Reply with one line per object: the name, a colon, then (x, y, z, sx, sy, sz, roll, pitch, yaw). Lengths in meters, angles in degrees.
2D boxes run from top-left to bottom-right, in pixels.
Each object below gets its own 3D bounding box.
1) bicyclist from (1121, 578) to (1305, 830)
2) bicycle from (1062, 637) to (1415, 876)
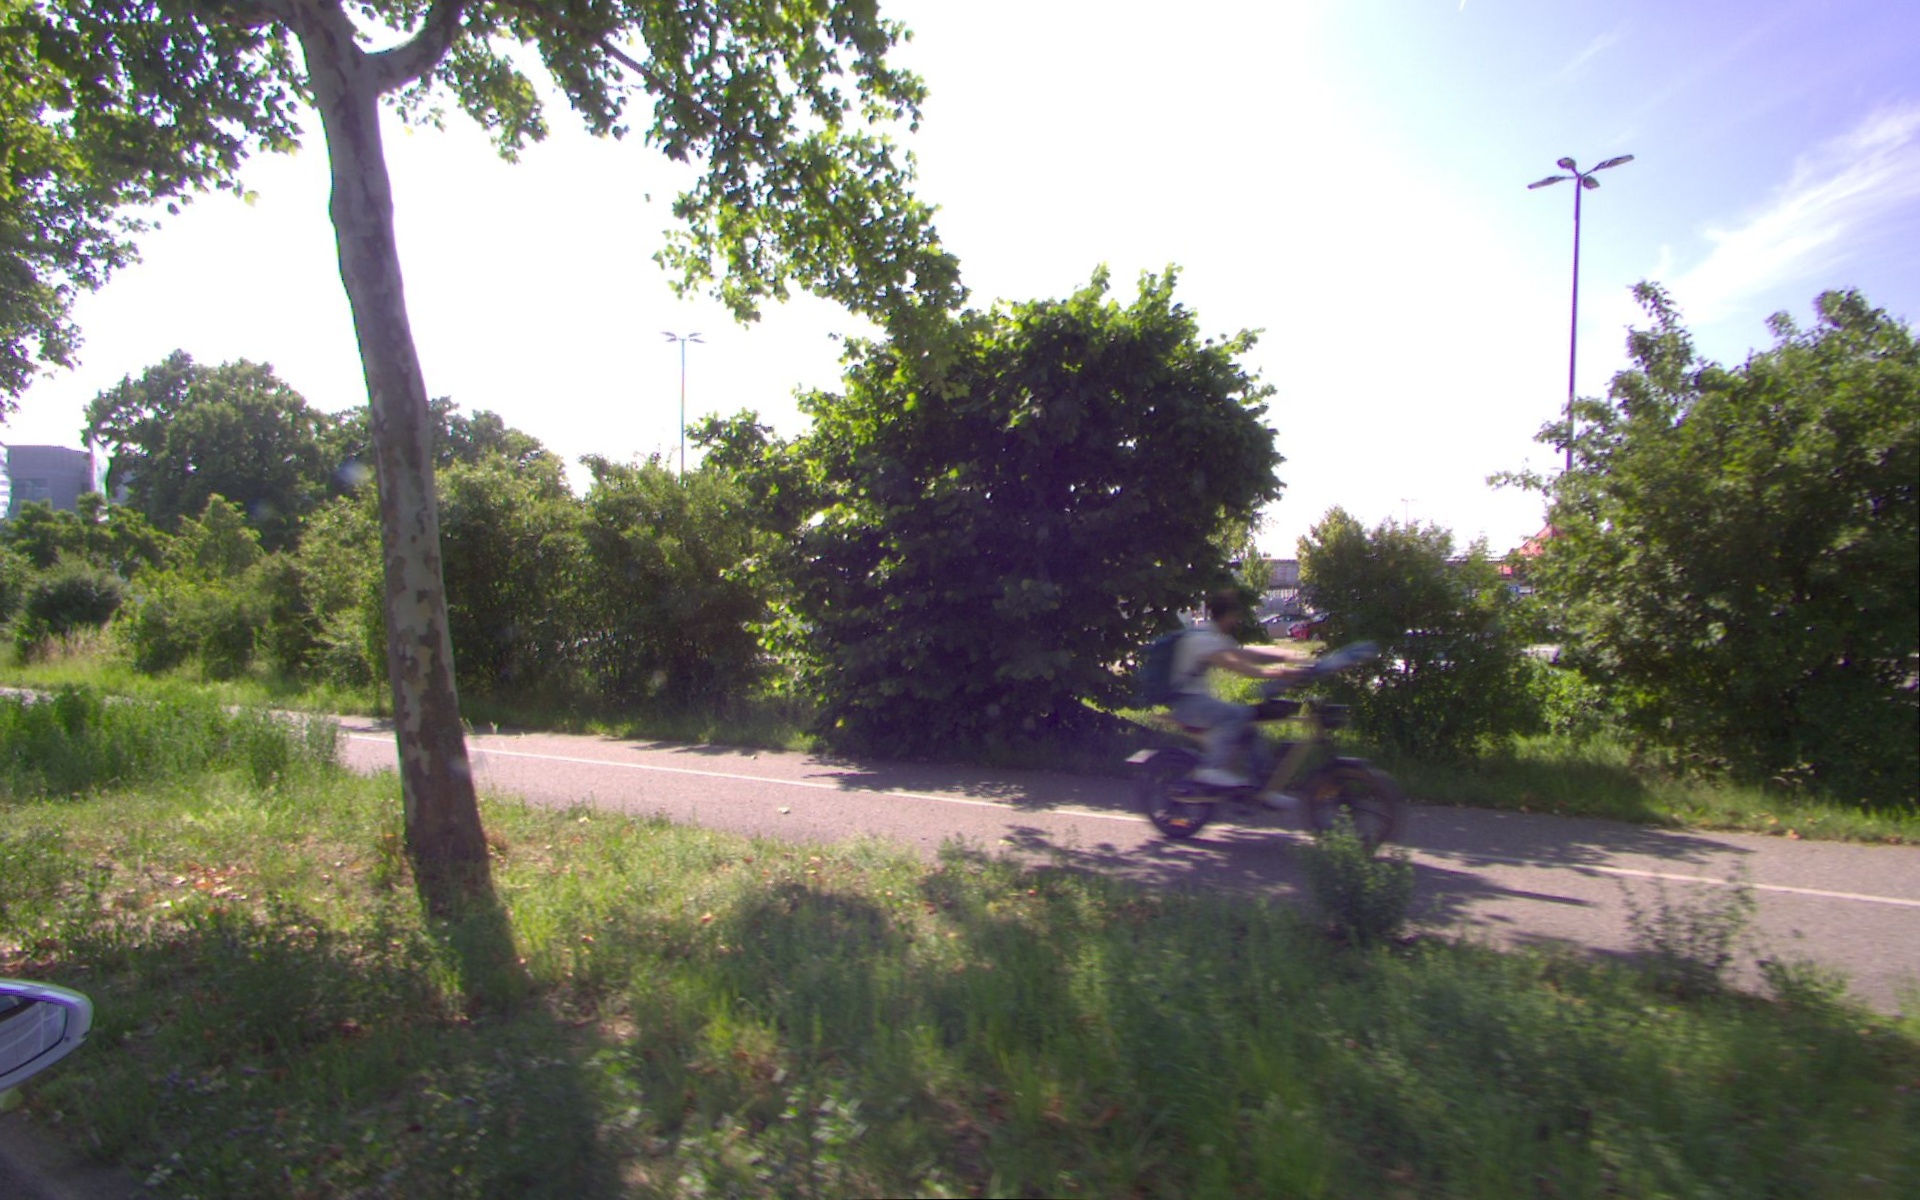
bicyclist: (1.650, 0.637, 6.521, 0.995, 1.496, 0.703, -1, -1, 33)
bicycle: (1.743, 0.902, 6.435, 2.066, 1.315, 0.721, -1, -1, 33)
